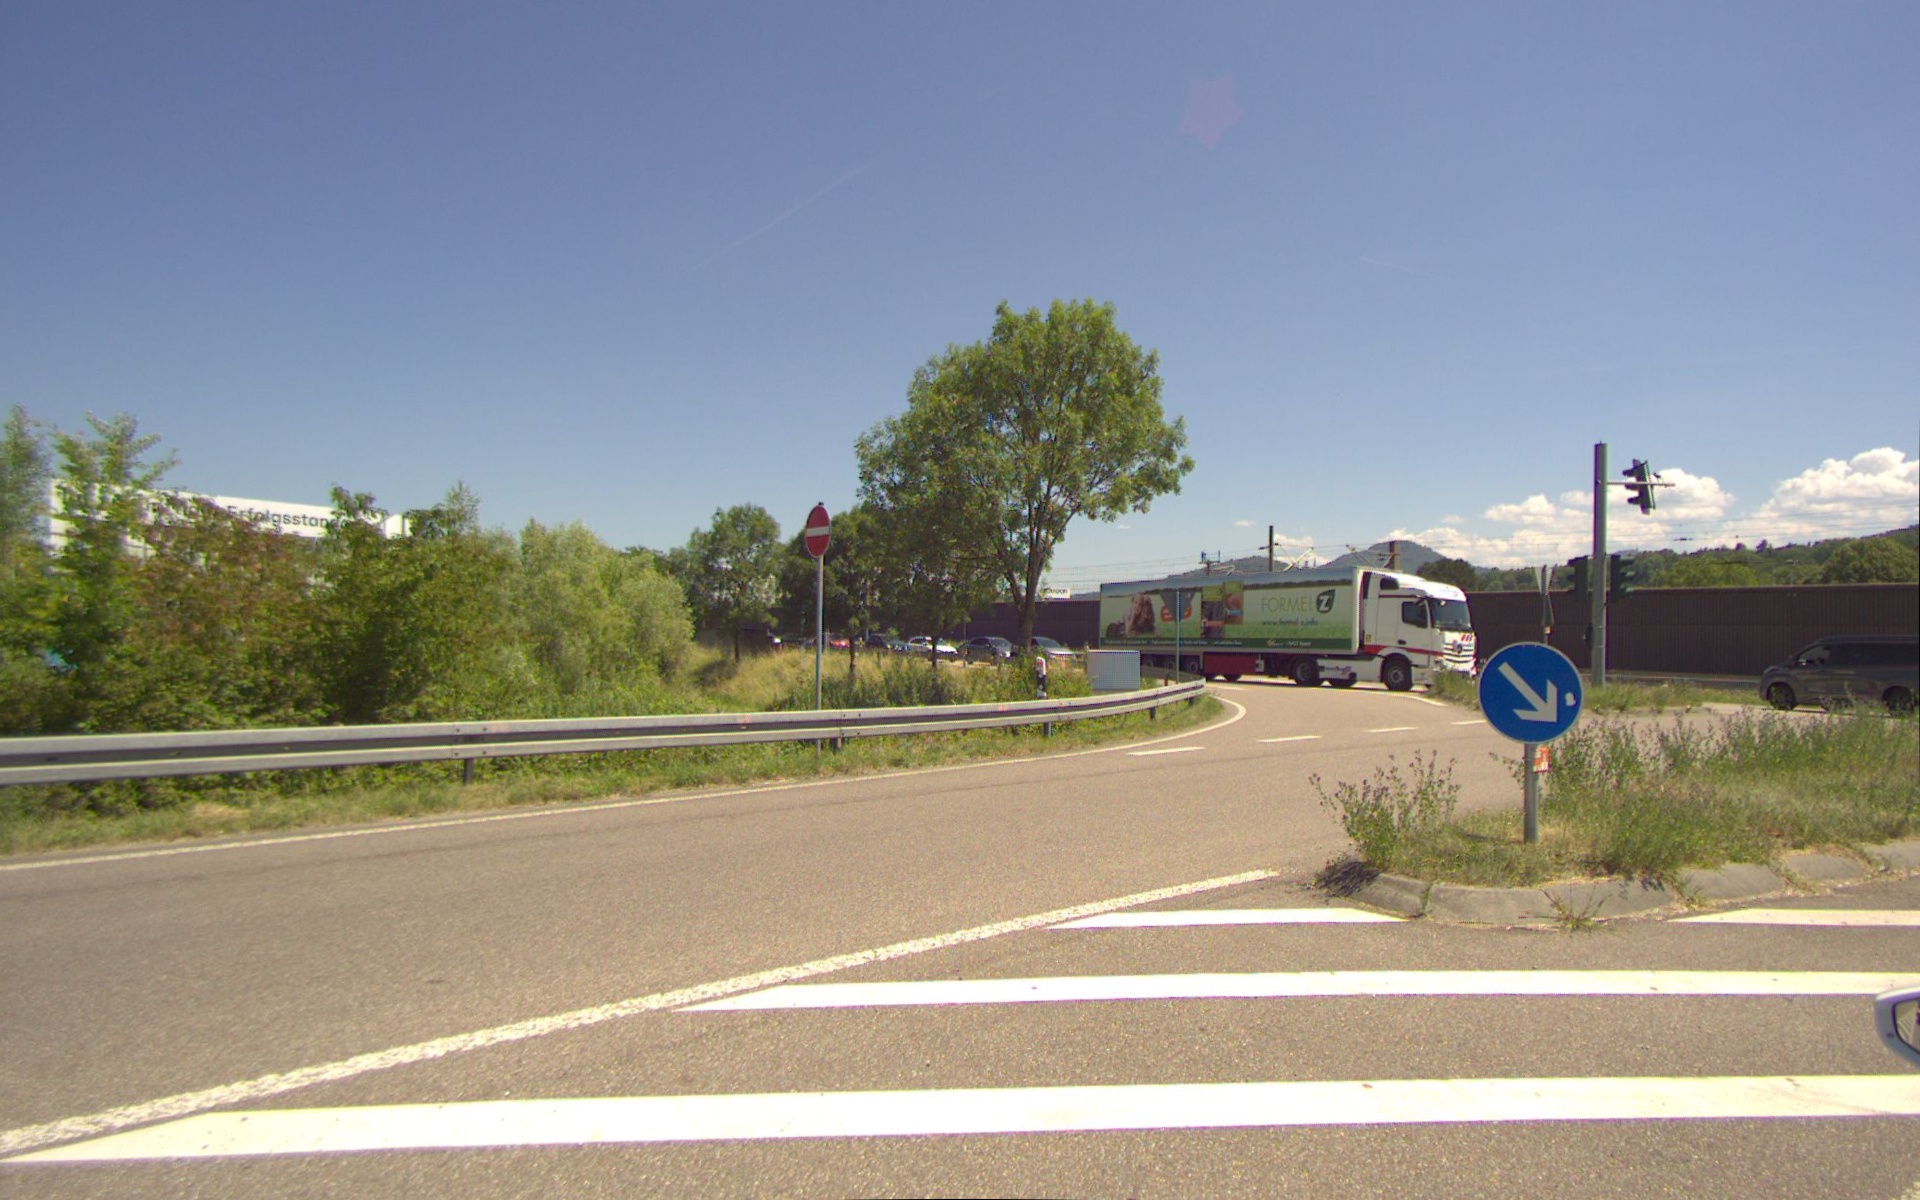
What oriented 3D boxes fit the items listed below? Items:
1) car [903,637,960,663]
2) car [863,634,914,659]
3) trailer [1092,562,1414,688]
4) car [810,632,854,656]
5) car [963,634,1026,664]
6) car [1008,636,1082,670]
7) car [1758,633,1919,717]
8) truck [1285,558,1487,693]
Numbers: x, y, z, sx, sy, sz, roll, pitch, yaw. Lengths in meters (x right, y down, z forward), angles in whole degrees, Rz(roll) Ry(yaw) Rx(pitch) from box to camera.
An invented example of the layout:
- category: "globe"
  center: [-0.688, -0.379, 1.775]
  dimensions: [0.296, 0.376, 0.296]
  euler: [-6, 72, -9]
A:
- category: "car"
  center: [-1.821, 3.090, 62.674]
  dimensions: [1.639, 1.498, 4.595]
  euler: [3, -3, -29]
- category: "car"
  center: [-4.912, 3.157, 68.532]
  dimensions: [1.702, 1.610, 4.500]
  euler: [3, -3, -29]
- category: "trailer"
  center: [10.708, 1.055, 39.560]
  dimensions: [2.668, 4.097, 14.005]
  euler: [4, -3, -31]
- category: "car"
  center: [-9.575, 3.252, 75.121]
  dimensions: [1.740, 1.653, 4.245]
  euler: [3, -2, -29]
- category: "car"
  center: [1.898, 2.749, 56.612]
  dimensions: [1.609, 1.558, 4.352]
  euler: [2, -2, -28]
- category: "car"
  center: [4.281, 2.665, 51.094]
  dimensions: [1.698, 1.582, 4.120]
  euler: [3, -3, -31]
- category: "car"
  center: [24.127, 1.927, 26.457]
  dimensions: [1.978, 2.049, 4.775]
  euler: [2, -2, -10]
- category: "truck"
  center: [14.182, 0.897, 33.829]
  dimensions: [2.668, 4.097, 5.776]
  euler: [4, -3, -31]
